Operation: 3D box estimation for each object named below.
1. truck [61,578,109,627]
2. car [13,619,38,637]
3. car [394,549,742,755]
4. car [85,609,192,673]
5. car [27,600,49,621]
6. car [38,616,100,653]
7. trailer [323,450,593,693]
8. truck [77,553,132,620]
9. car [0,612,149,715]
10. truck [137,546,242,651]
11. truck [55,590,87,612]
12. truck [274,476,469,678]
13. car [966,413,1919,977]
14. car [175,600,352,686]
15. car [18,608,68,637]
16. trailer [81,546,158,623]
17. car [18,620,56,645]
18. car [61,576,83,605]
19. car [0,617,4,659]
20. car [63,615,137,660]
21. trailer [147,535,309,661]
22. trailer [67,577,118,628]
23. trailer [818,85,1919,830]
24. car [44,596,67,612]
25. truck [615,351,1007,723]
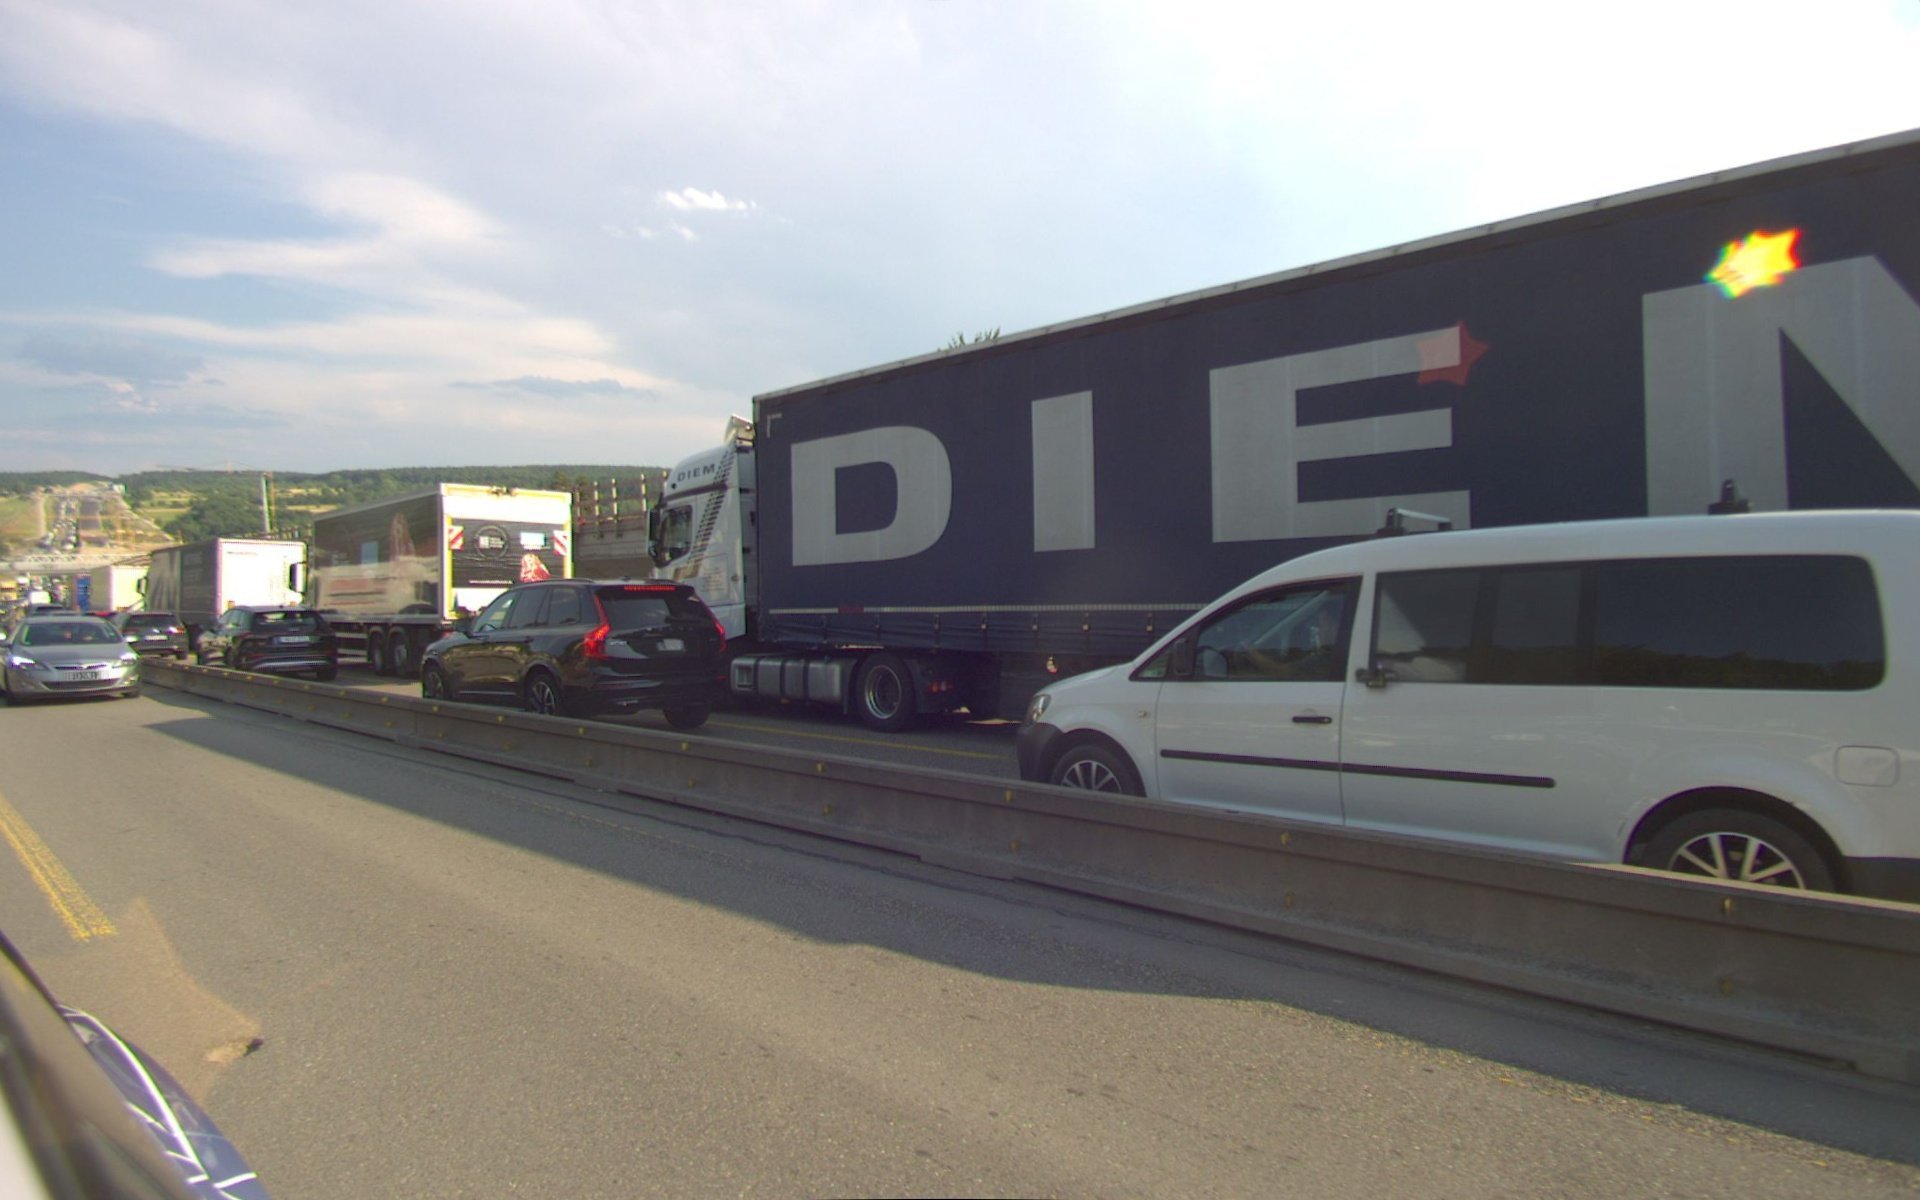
[{"bbox_3d":[-79.537,0.218,91.909,2.783,4.290,10.589,0,0,-44],"label":"truck"},{"bbox_3d":[-87.223,2.583,94.436,1.679,1.588,4.373,0,0,-44],"label":"car"},{"bbox_3d":[-4.817,0.476,12.021,4.897,1.978,1.814,0,0,41],"label":"car"},{"bbox_3d":[-24.977,1.163,30.697,4.747,1.598,1.842,1,4,43],"label":"car"},{"bbox_3d":[-118.187,1.337,129.658,1.972,2.636,5.619,1,-1,-43],"label":"car"},{"bbox_3d":[-42.838,1.616,48.633,4.815,1.467,1.755,1,2,43],"label":"car"},{"bbox_3d":[-11.202,-0.537,22.226,7.152,4.499,2.880,0,1,43],"label":"trailer"},{"bbox_3d":[-58.275,-0.888,68.897,2.427,4.348,5.477,0,0,-45],"label":"truck"},{"bbox_3d":[-15.751,1.008,17.689,4.117,1.498,1.786,0,1,42],"label":"car"},{"bbox_3d":[-33.718,-0.064,44.216,6.116,4.235,2.734,0,0,44],"label":"truck"},{"bbox_3d":[-131.357,0.084,149.461,3.197,3.169,6.494,0,0,-44],"label":"truck"},{"bbox_3d":[-14.965,-0.524,25.618,5.027,4.548,2.888,0,0,42],"label":"truck"},{"bbox_3d":[2.603,0.353,5.261,5.125,1.948,1.805,0,-2,39],"label":"car"},{"bbox_3d":[-15.000,0.847,21.655,5.367,1.618,1.857,0,-2,42],"label":"car"},{"bbox_3d":[-58.240,1.394,64.238,4.976,1.667,1.986,0,3,44],"label":"car"},{"bbox_3d":[-52.604,-0.880,63.151,2.428,4.352,13.783,0,0,-45],"label":"trailer"},{"bbox_3d":[-71.189,2.486,78.042,4.733,1.618,1.860,0,3,44],"label":"car"},{"bbox_3d":[-174.723,-1.767,199.084,3.279,5.427,14.317,0,0,-42],"label":"car"},{"bbox_3d":[-35.150,1.378,35.650,3.999,1.452,1.799,-1,1,42],"label":"car"},{"bbox_3d":[-34.418,1.449,40.477,4.480,1.562,1.747,1,2,43],"label":"car"},{"bbox_3d":[-28.979,-0.063,39.649,13.836,4.235,2.745,0,0,44],"label":"trailer"},{"bbox_3d":[-73.002,0.189,85.094,2.783,4.136,8.294,0,0,-44],"label":"trailer"},{"bbox_3d":[3.928,-0.758,8.653,12.486,4.154,2.686,-1,-1,41],"label":"trailer"},{"bbox_3d":[-124.097,0.501,138.885,2.183,2.037,3.977,-5,3,-43],"label":"car"},{"bbox_3d":[-2.160,-0.665,13.961,5.027,4.146,2.721,-1,-1,40],"label":"truck"}]
